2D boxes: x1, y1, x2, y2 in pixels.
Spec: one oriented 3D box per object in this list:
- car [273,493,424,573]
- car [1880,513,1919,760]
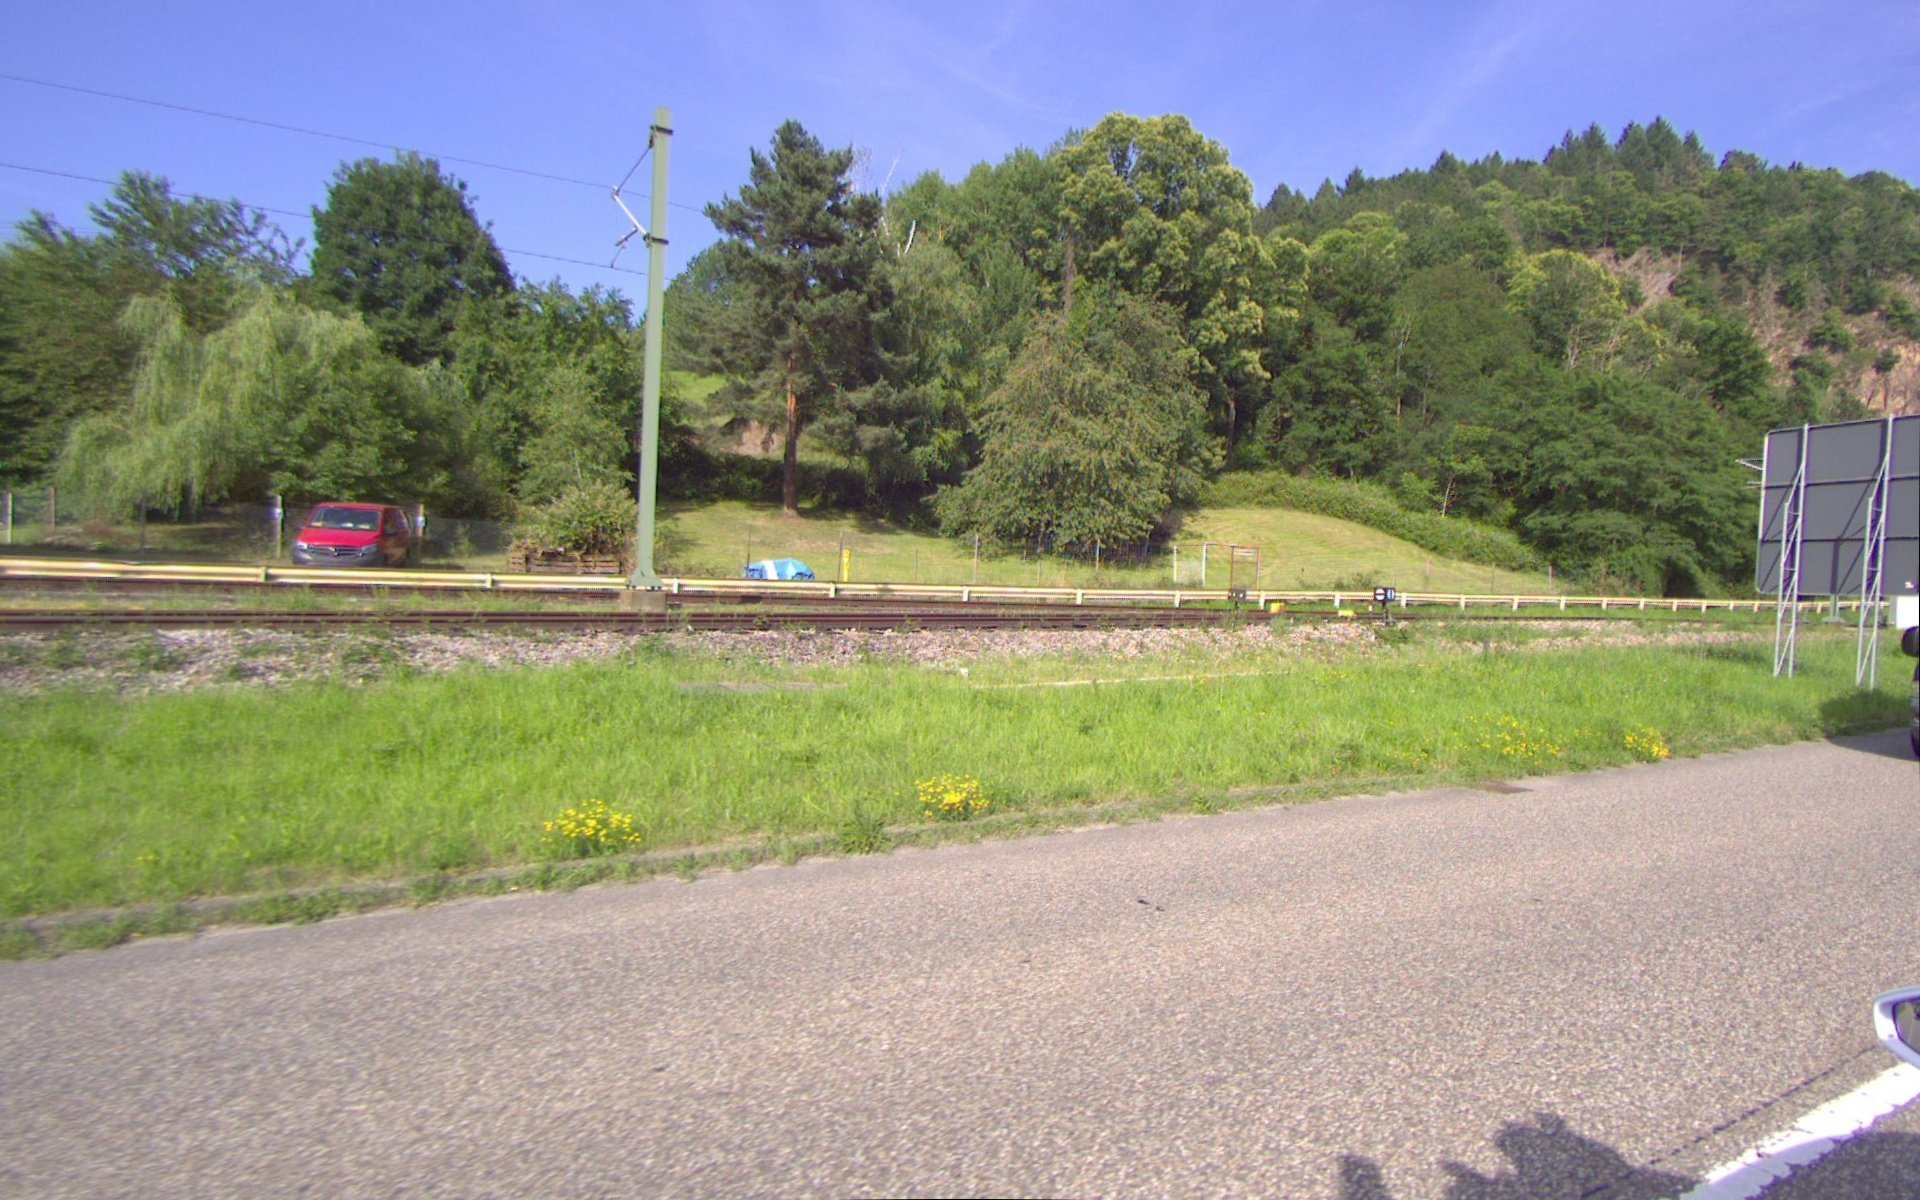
[{"bbox_3d":[-15.484,-1.635,25.761,2.420,1.714,4.955,2,1,-21],"label":"car"},{"bbox_3d":[12.960,0.430,11.572,5.418,2.650,2.115,1,-1,-32],"label":"car"}]
